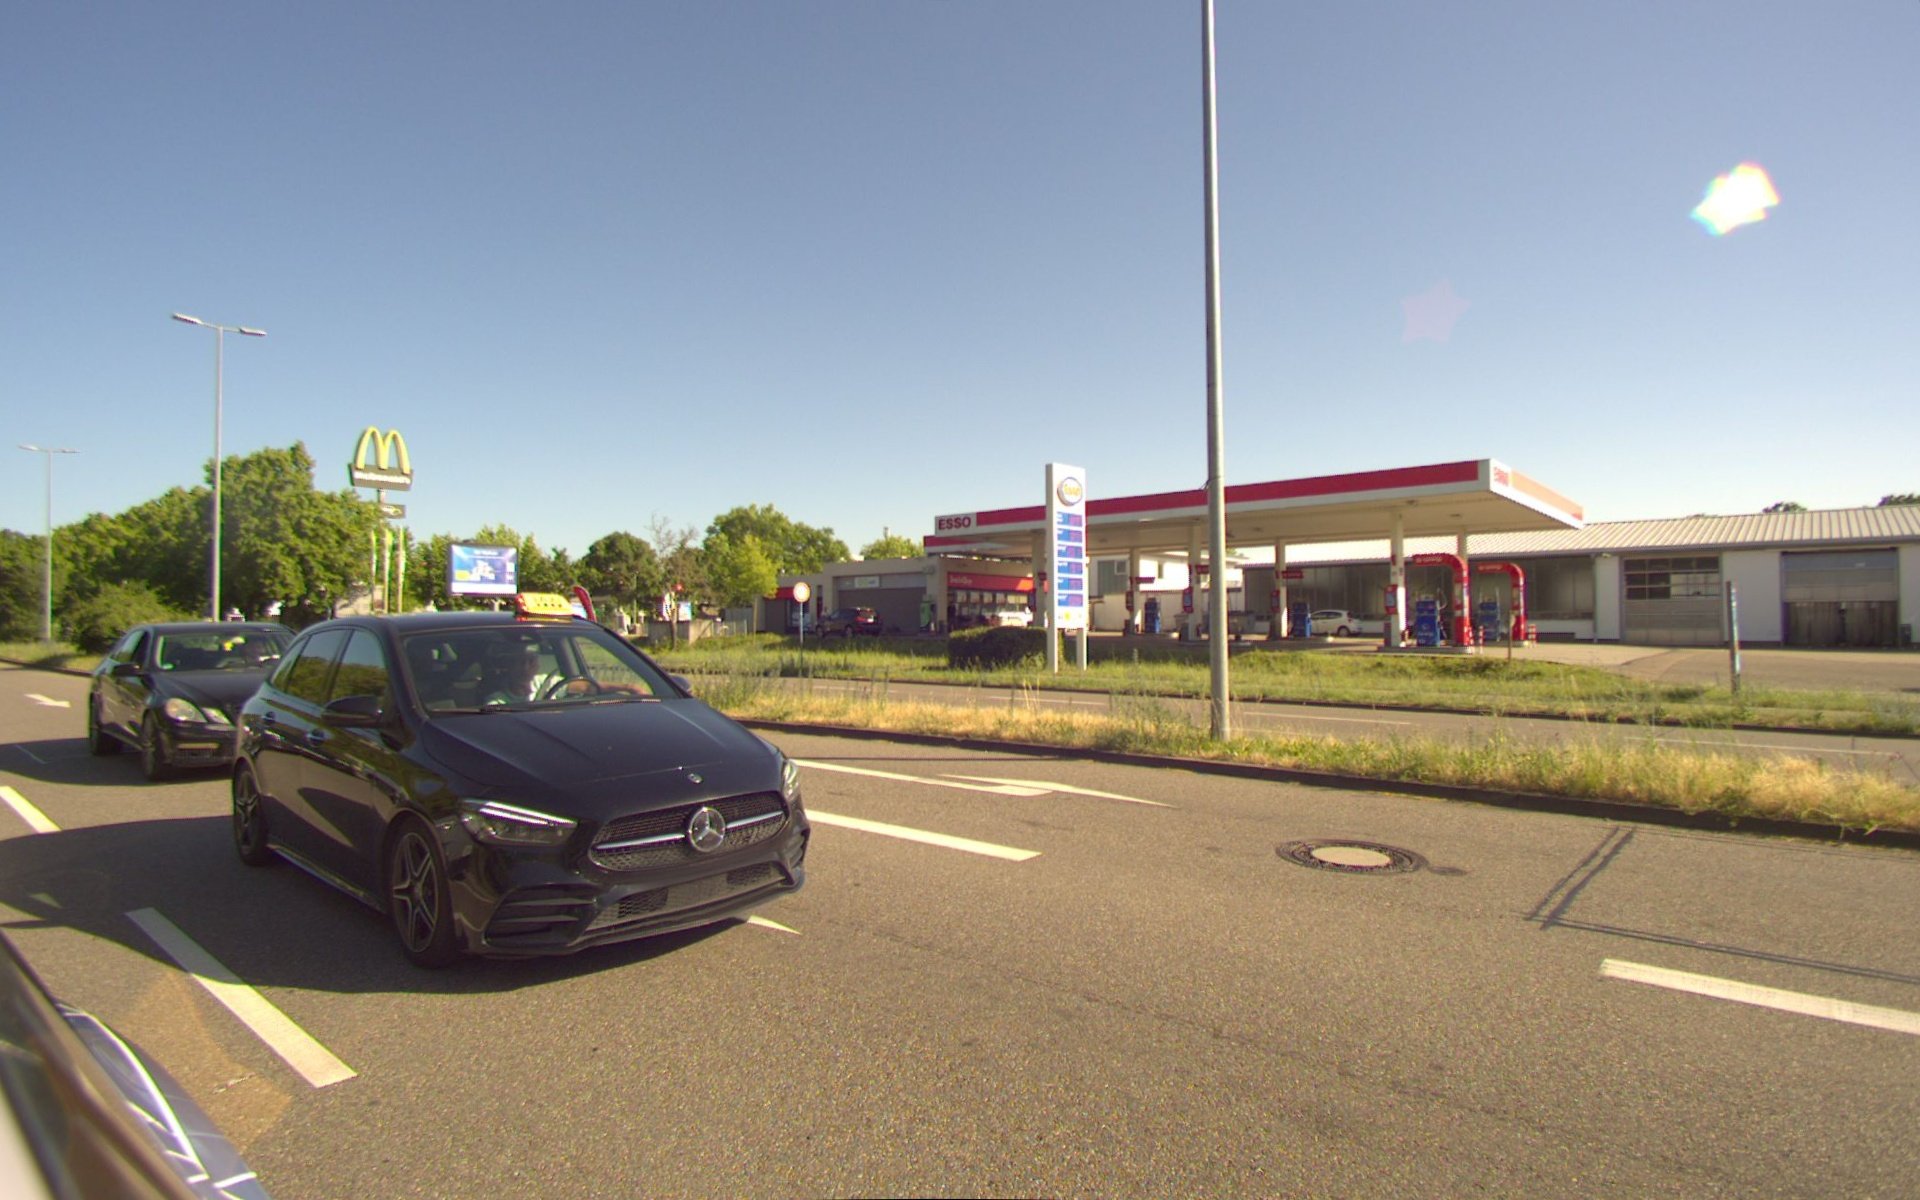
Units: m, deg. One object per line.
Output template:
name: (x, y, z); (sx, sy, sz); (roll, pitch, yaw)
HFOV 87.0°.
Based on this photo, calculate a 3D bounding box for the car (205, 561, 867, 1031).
car: (-2.594, 0.736, 5.613); (4.187, 1.638, 1.780); (-2, -2, 42)

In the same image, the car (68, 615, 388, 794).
car: (-7.938, 0.949, 10.817); (4.401, 1.535, 1.838); (-2, -2, 41)

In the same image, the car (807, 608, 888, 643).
car: (-5.904, 1.327, 52.814); (4.117, 1.783, 1.972); (-2, -2, 43)

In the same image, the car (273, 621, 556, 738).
car: (-7.937, 1.044, 14.594); (4.393, 1.440, 1.841); (-1, -2, 35)

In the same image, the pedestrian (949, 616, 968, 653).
pedestrian: (-0.084, 1.890, 55.632); (0.840, 2.029, 0.694); (-2, -2, 41)

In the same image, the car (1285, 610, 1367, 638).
car: (19.830, 1.319, 54.879); (3.844, 1.450, 1.730); (-2, -2, 39)
